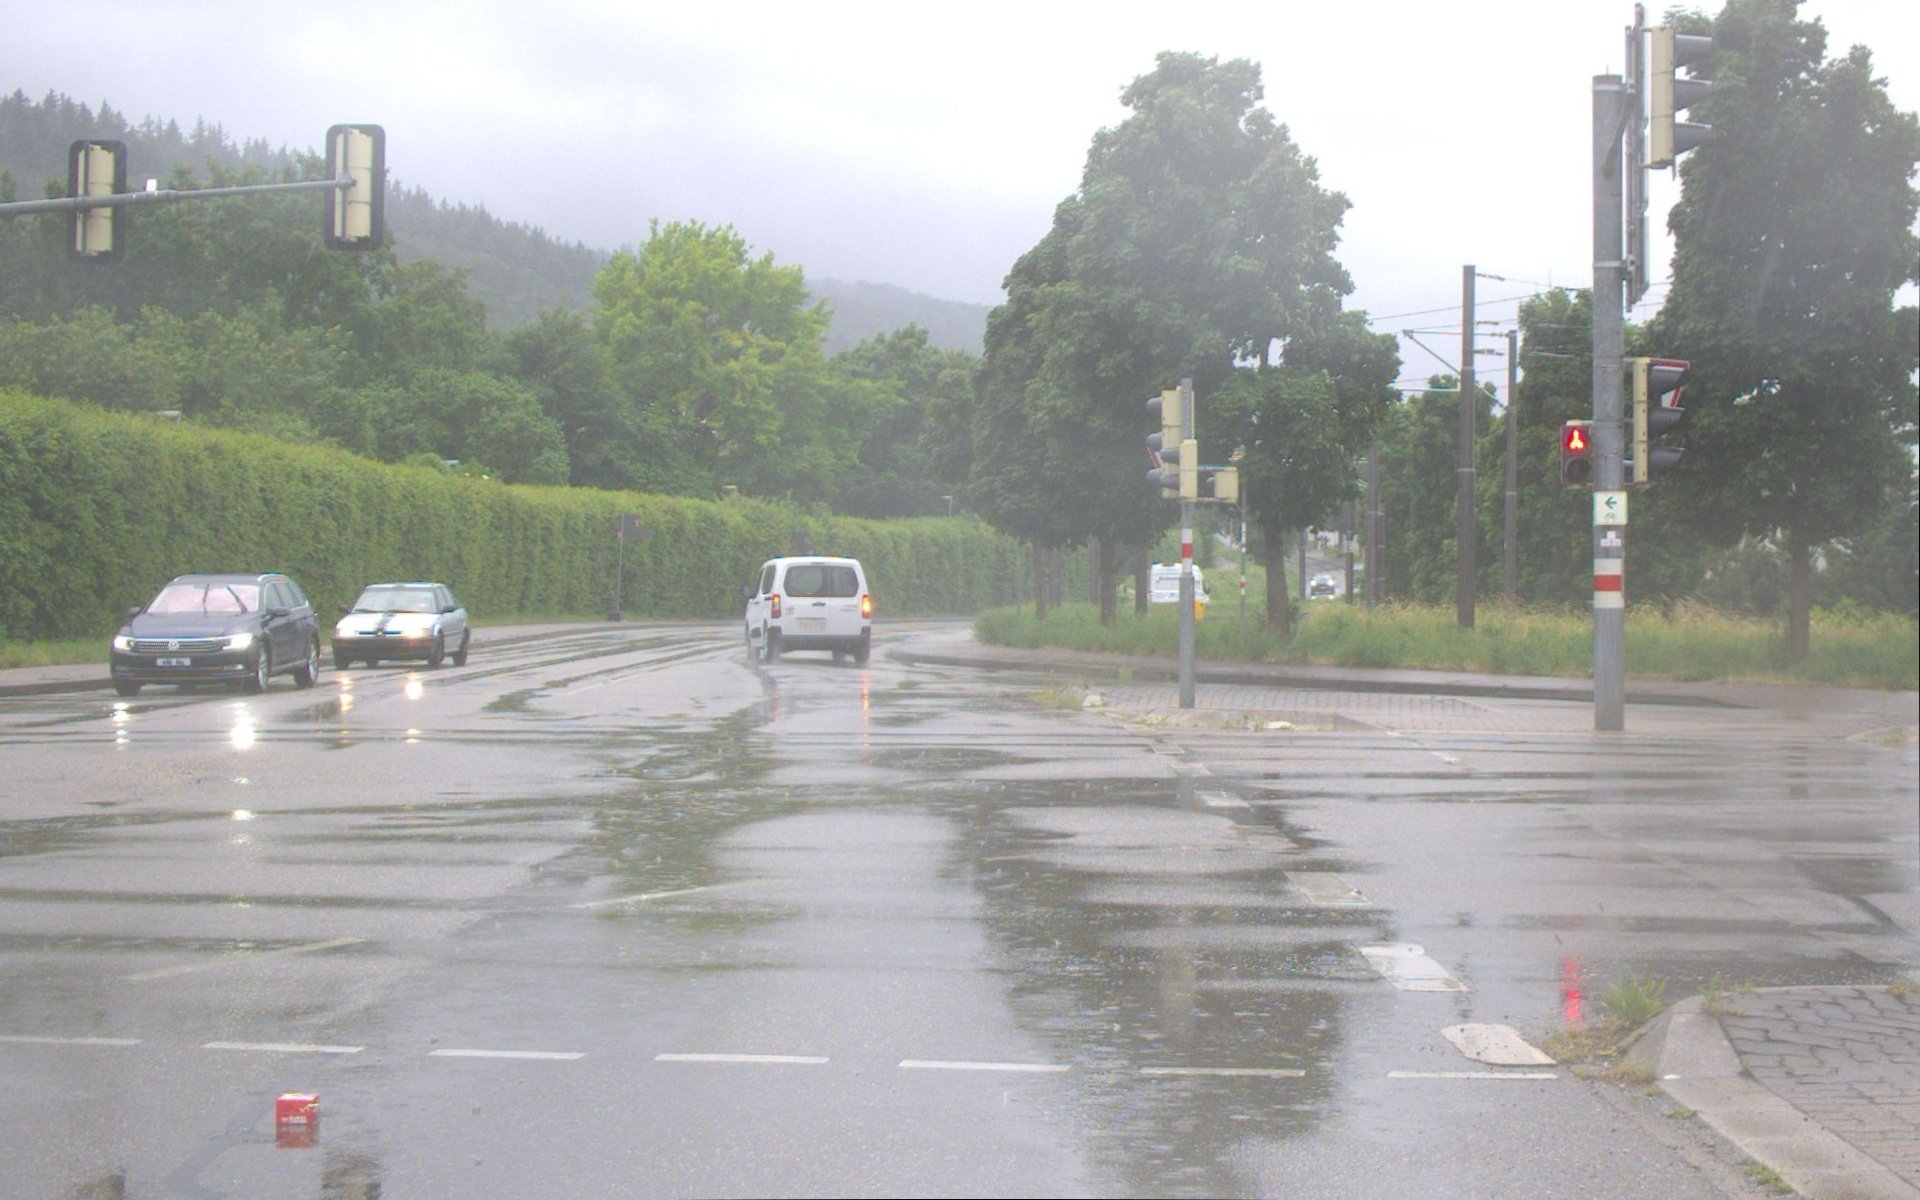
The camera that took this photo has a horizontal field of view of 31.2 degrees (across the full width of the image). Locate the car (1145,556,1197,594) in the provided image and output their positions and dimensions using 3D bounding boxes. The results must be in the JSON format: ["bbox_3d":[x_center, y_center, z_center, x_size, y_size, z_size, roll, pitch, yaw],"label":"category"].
[{"bbox_3d":[10.699,-1.255,173.951,1.933,1.883,4.059,0,1,14],"label":"car"}]

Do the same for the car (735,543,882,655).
[{"bbox_3d":[-2.694,-0.050,60.112,1.953,1.897,4.121,0,1,-11],"label":"car"}]

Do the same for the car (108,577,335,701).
[{"bbox_3d":[-9.281,0.456,43.538,1.709,1.461,4.452,0,1,3],"label":"car"}]

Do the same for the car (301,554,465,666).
[{"bbox_3d":[-9.355,0.129,56.020,2.036,1.702,4.066,1,1,-1],"label":"car"}]
